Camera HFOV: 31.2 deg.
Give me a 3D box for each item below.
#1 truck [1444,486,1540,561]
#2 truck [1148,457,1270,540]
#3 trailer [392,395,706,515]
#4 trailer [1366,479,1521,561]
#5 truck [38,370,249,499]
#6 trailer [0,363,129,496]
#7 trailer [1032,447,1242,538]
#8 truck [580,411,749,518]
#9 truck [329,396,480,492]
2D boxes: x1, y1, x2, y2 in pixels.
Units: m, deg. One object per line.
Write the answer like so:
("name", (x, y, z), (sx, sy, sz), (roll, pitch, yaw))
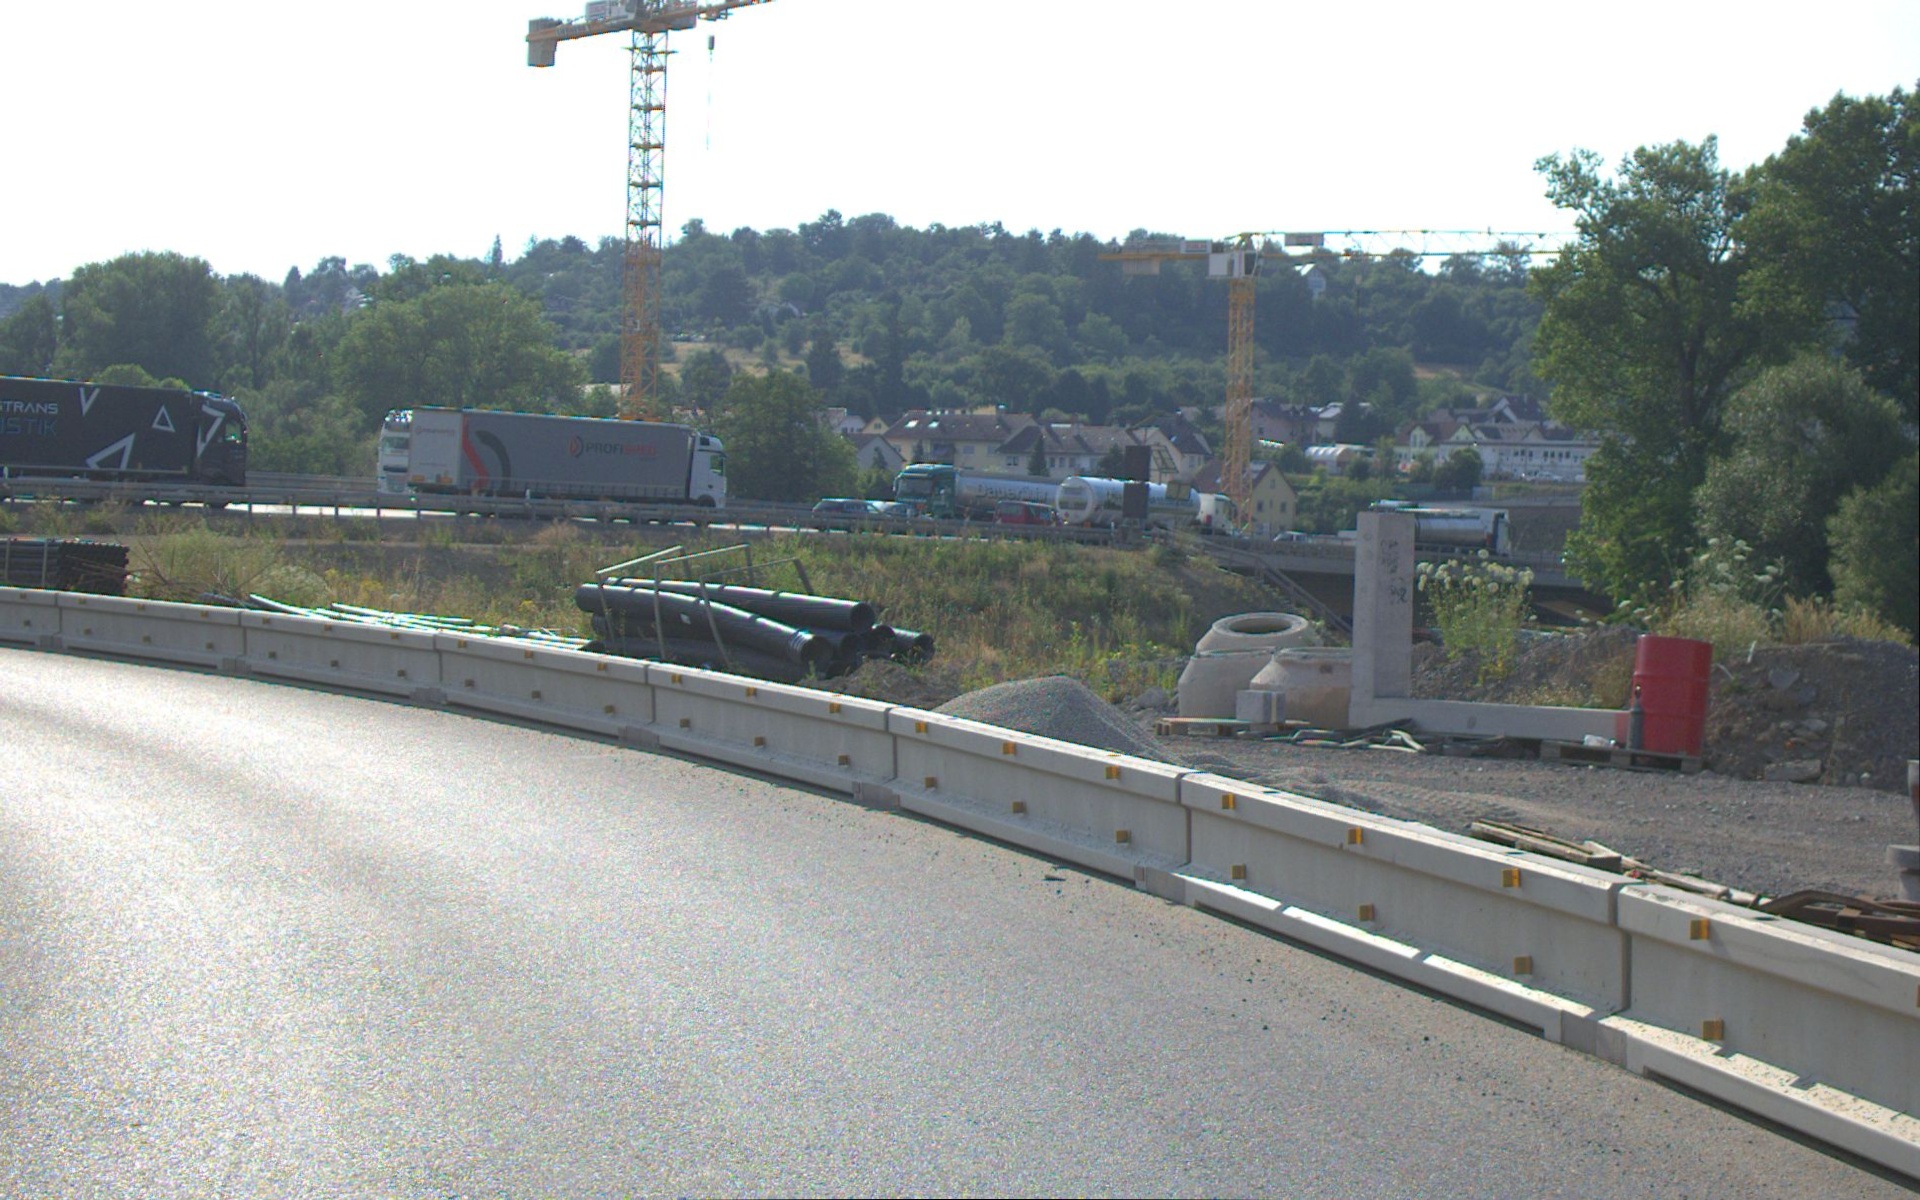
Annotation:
("truck", (32.216, -4.606, 208.032), (3.104, 4.270, 6.612), (4, 2, 33))
("truck", (13.002, -5.274, 179.052), (3.397, 3.982, 6.612), (4, 2, 33))
("trailer", (-15.885, -5.591, 134.919), (3.392, 3.982, 14.716), (4, 2, 33))
("trailer", (28.593, -4.649, 202.470), (3.110, 4.299, 14.224), (4, 2, 33))
("truck", (-27.753, -5.606, 117.128), (2.891, 3.982, 6.611), (4, 2, 34))
("trailer", (-32.009, -5.606, 110.835), (2.965, 4.077, 10.771), (3, 1, 34))
("trailer", (9.056, -5.341, 172.995), (3.392, 3.982, 14.716), (4, 2, 33))
("truck", (-12.069, -5.525, 140.848), (3.350, 3.982, 6.612), (4, 2, 33))
("truck", (-22.937, -6.434, 142.168), (3.002, 3.714, 5.677), (2, 1, 34))
